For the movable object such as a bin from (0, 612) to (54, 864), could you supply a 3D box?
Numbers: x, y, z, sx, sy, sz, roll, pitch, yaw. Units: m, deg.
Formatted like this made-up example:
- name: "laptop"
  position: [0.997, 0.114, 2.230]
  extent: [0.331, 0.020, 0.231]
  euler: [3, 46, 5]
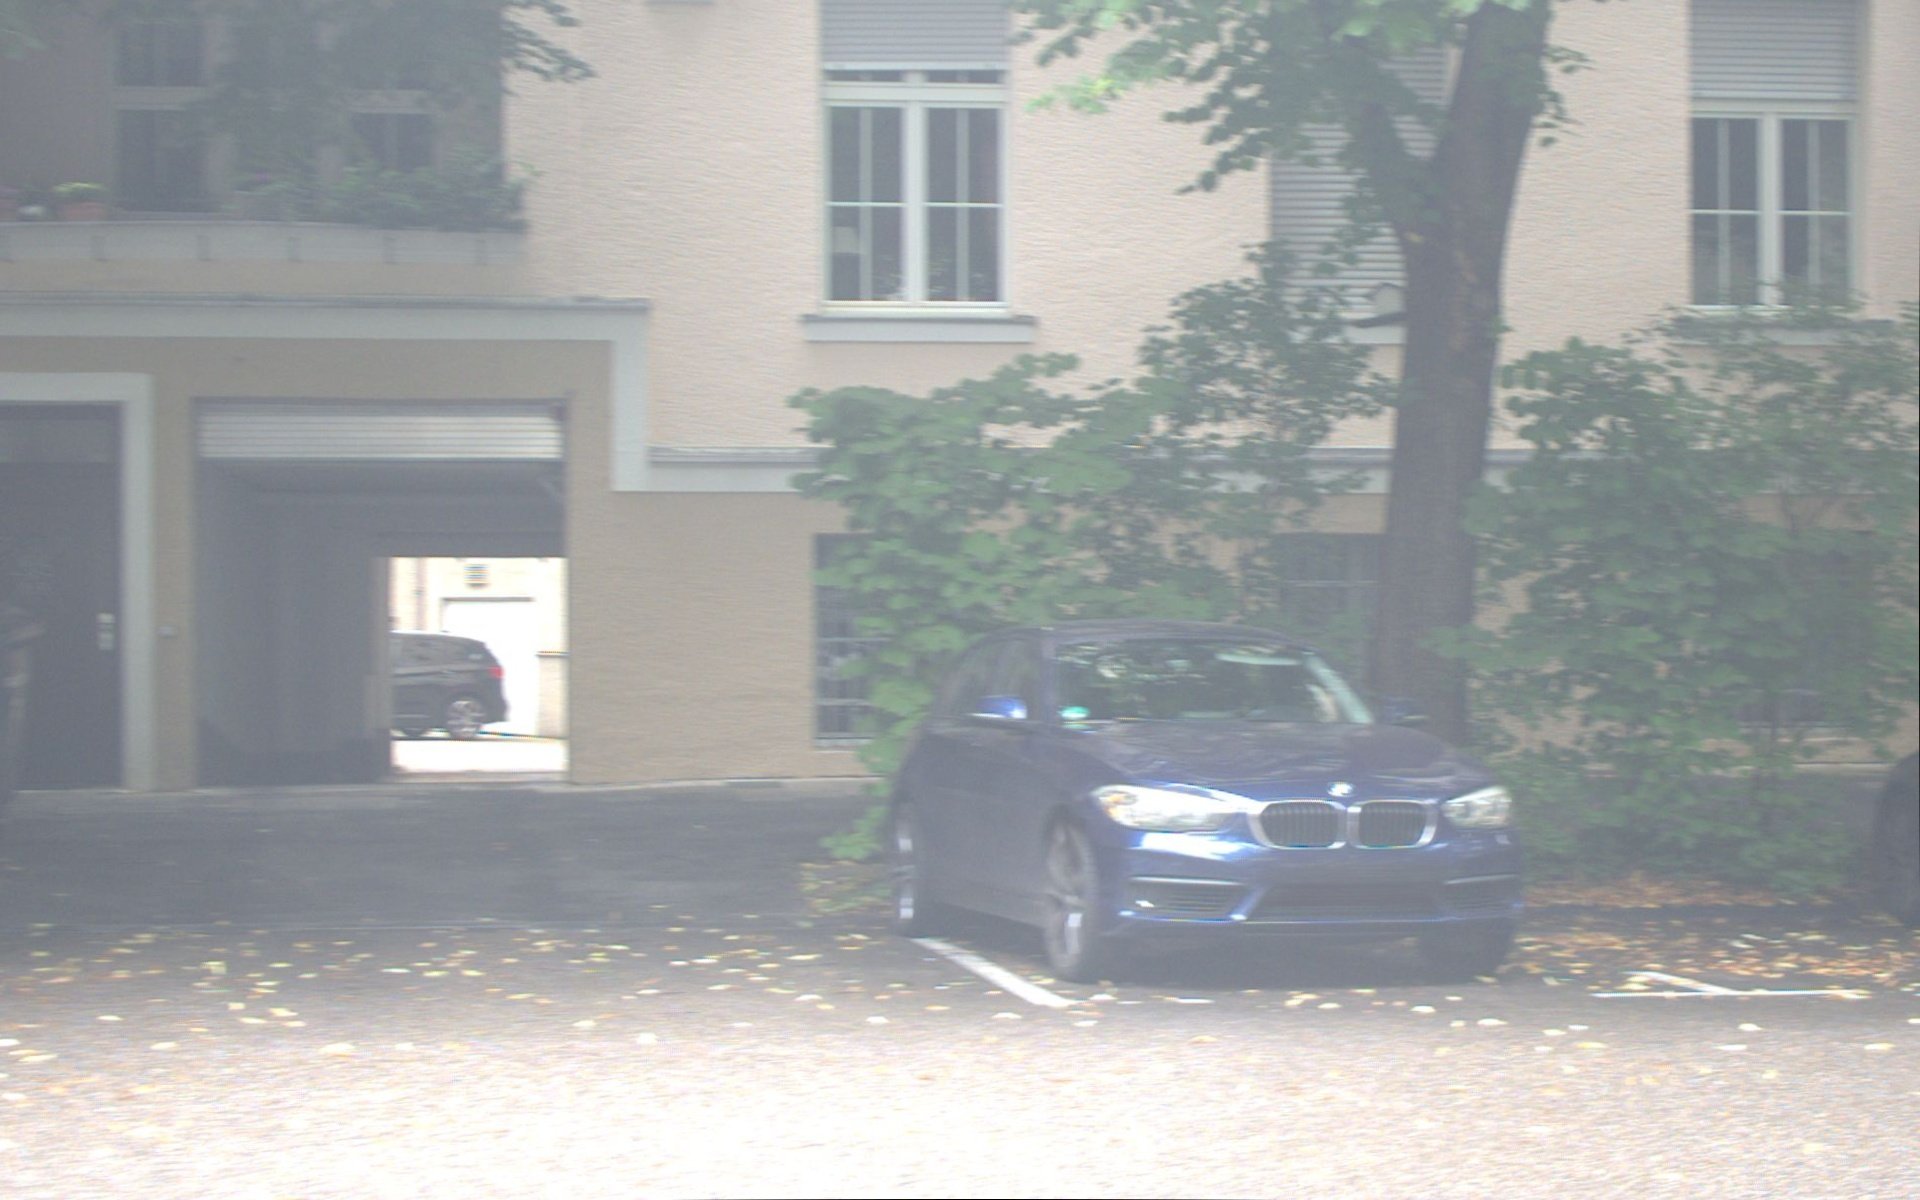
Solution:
- name: "movable object such as a bin"
  position: [-5.466, 0.722, 18.784]
  extent: [0.862, 1.301, 1.432]
  euler: [2, 0, -11]

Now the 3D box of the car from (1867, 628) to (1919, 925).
- name: "car"
  position: [5.648, 0.788, 15.108]
  extent: [1.857, 1.421, 4.163]
  euler: [0, -2, -6]

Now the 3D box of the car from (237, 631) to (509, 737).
- name: "car"
  position: [-8.731, 1.239, 51.031]
  extent: [3.843, 1.513, 1.657]
  euler: [1, 0, -14]

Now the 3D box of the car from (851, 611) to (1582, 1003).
- name: "car"
  position: [0.874, 0.756, 14.458]
  extent: [1.838, 1.378, 4.343]
  euler: [0, -1, -13]
